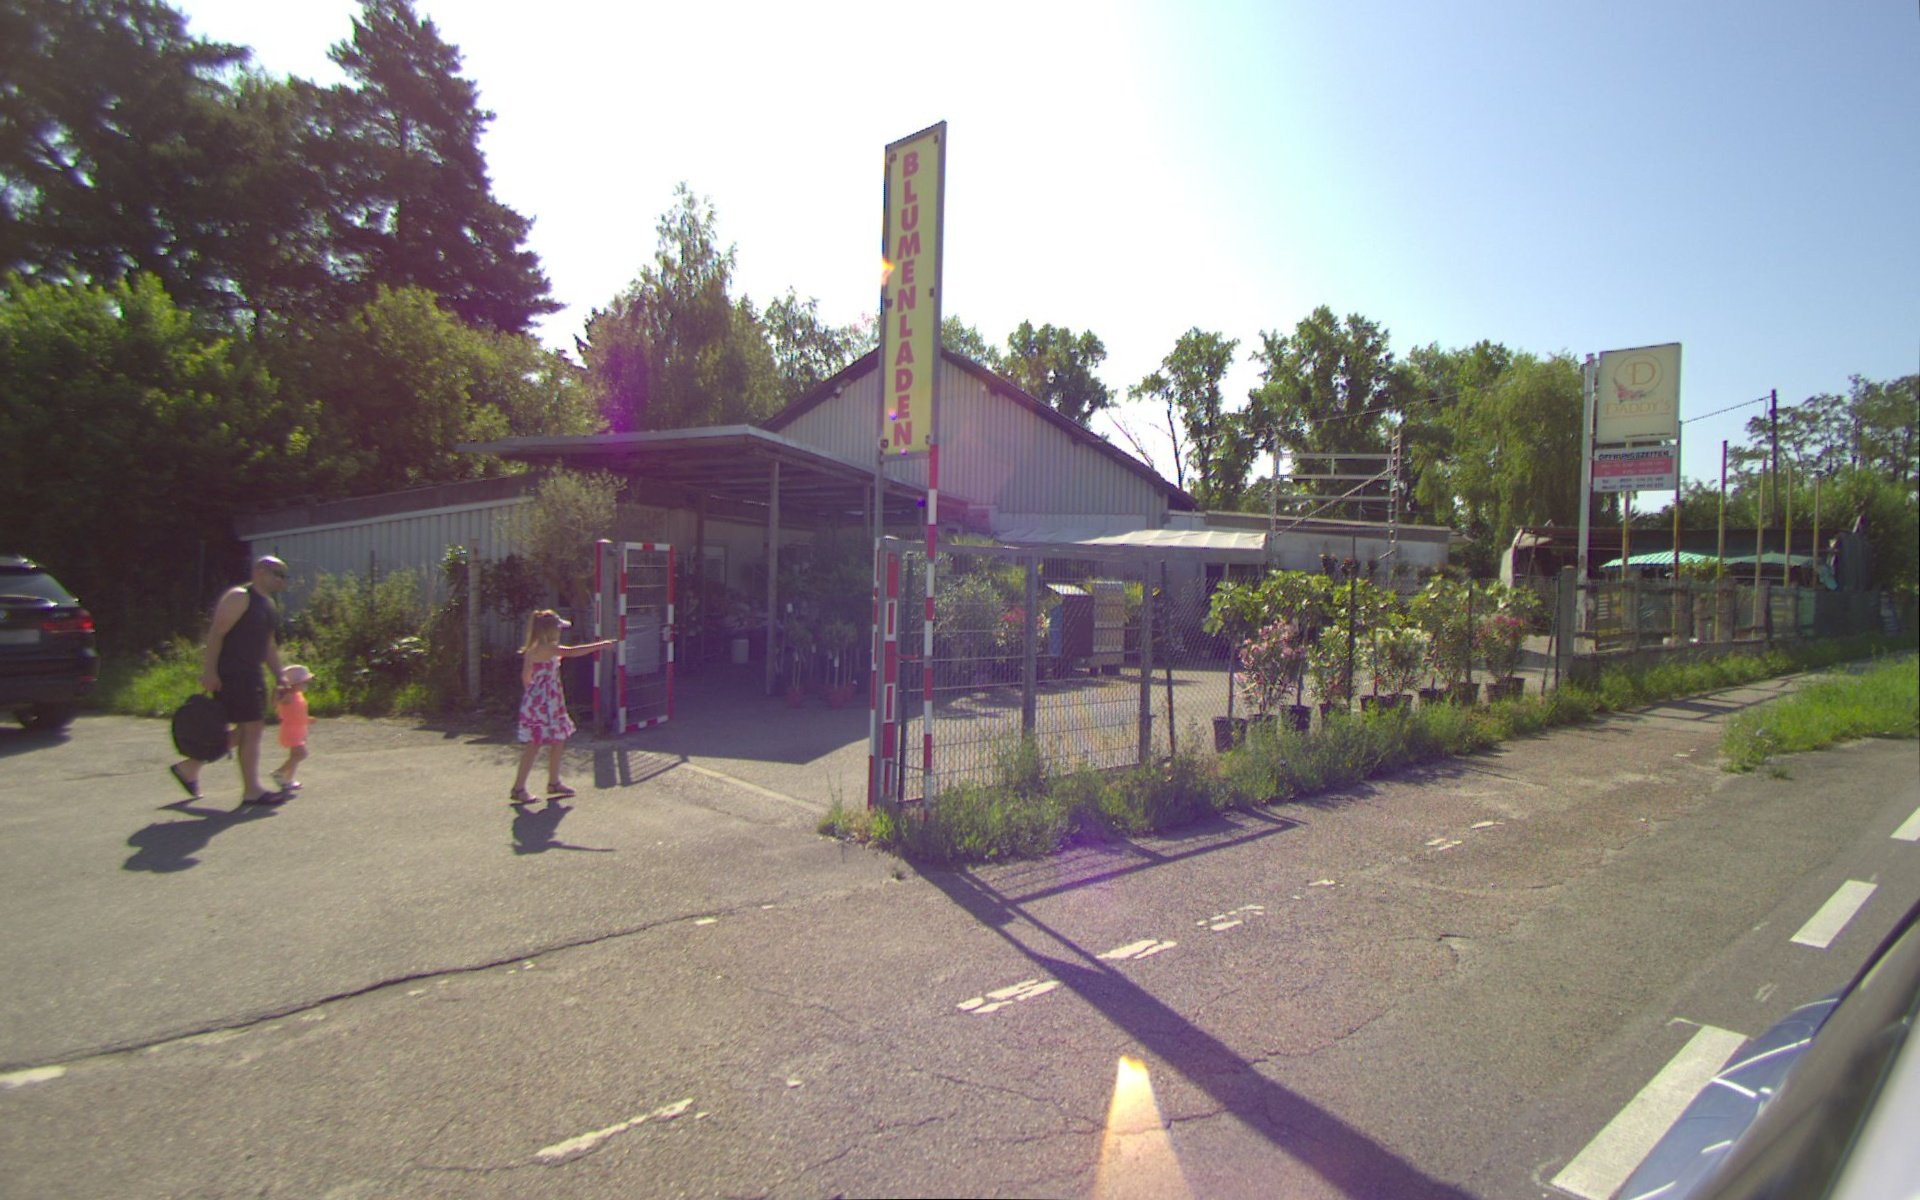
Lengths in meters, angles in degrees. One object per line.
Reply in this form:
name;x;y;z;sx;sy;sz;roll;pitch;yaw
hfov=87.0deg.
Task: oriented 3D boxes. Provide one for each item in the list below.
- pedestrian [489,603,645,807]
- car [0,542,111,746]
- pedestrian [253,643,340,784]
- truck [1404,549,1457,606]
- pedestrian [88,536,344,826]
pedestrian;-2.823;0.719;7.328;0.811;1.354;0.724;1;1;6
car;-10.651;0.341;9.803;4.411;1.826;1.851;1;1;22
pedestrian;-5.043;0.849;7.707;0.333;0.996;0.470;1;1;6
truck;30.608;-1.396;66.055;2.722;3.507;7.691;-1;0;23
pedestrian;-5.039;0.491;6.934;0.920;1.808;1.099;1;1;6
